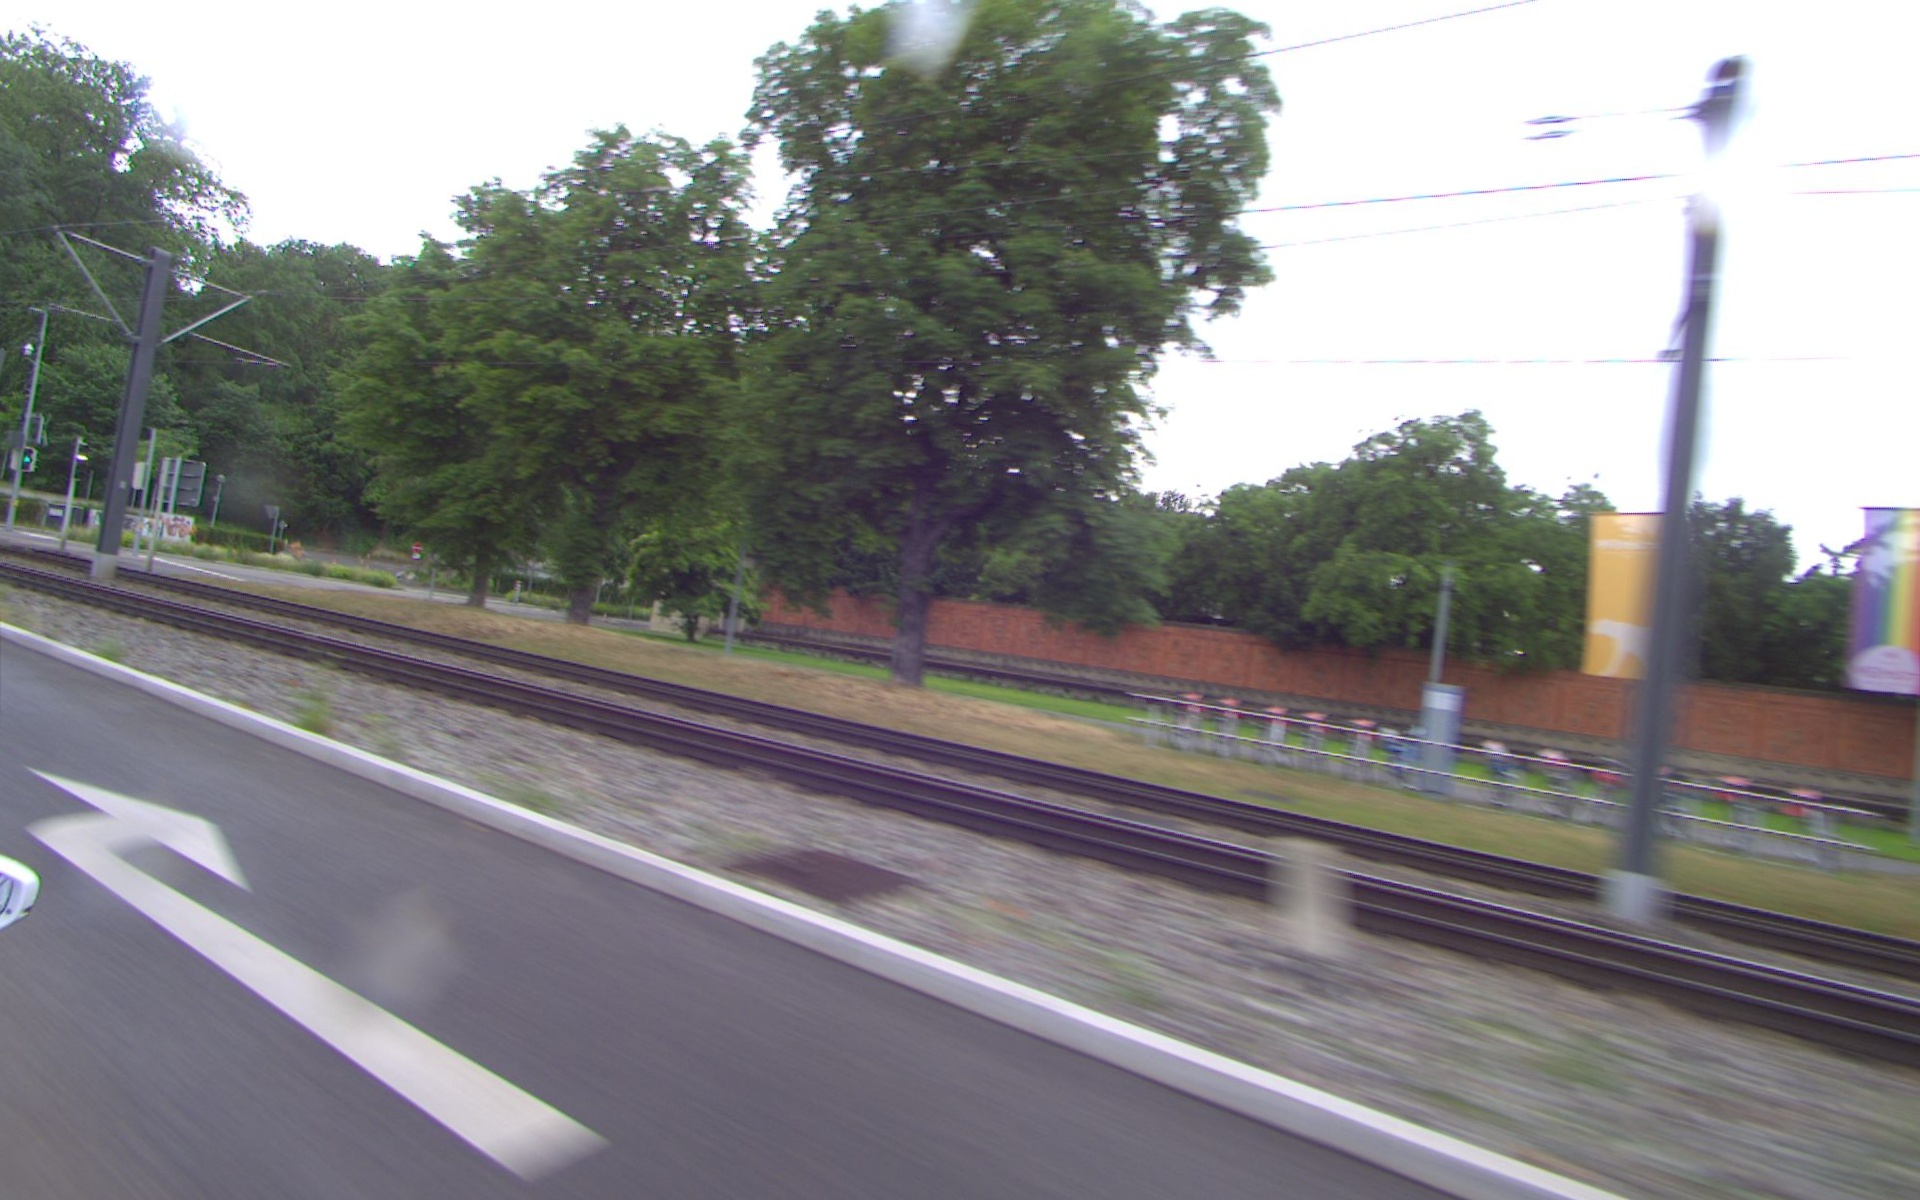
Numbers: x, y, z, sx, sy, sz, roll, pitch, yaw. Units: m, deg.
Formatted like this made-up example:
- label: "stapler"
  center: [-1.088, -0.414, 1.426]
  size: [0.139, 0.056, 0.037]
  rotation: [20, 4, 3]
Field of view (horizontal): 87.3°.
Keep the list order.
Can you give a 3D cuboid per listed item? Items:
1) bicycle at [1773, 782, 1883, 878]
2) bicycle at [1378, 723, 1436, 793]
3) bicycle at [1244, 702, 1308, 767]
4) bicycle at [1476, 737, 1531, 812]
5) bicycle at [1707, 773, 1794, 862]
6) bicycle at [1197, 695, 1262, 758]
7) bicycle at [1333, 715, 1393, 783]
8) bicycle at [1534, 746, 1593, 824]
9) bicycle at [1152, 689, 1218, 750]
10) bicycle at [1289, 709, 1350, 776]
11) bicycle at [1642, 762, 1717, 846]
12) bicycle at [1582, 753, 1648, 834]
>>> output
- label: "bicycle"
  center: [12.506, 3.275, 14.563]
  size: [0.677, 1.043, 2.229]
  rotation: [7, -2, 30]
- label: "bicycle"
  center: [7.782, 2.713, 17.464]
  size: [0.642, 1.043, 1.815]
  rotation: [7, -2, 30]
- label: "bicycle"
  center: [5.869, 2.473, 18.618]
  size: [0.642, 1.043, 1.815]
  rotation: [7, -2, 30]
- label: "bicycle"
  center: [8.946, 2.832, 16.547]
  size: [0.642, 1.046, 1.815]
  rotation: [7, -2, 30]
- label: "bicycle"
  center: [11.649, 3.171, 14.875]
  size: [0.642, 1.043, 1.815]
  rotation: [7, -2, 30]
- label: "bicycle"
  center: [5.129, 2.388, 19.058]
  size: [0.642, 1.043, 1.815]
  rotation: [7, -2, 30]
- label: "bicycle"
  center: [7.112, 2.595, 17.689]
  size: [0.642, 1.043, 1.839]
  rotation: [7, -2, 30]
- label: "bicycle"
  center: [9.661, 2.930, 16.158]
  size: [0.642, 1.043, 1.815]
  rotation: [7, -2, 30]
- label: "bicycle"
  center: [4.371, 2.309, 19.474]
  size: [0.642, 1.043, 1.815]
  rotation: [7, -2, 30]
- label: "bicycle"
  center: [6.530, 2.561, 18.225]
  size: [0.642, 1.043, 1.815]
  rotation: [7, -2, 30]
- label: "bicycle"
  center: [11.039, 3.102, 15.486]
  size: [0.642, 1.043, 1.815]
  rotation: [7, -2, 30]
- label: "bicycle"
  center: [10.288, 3.008, 15.845]
  size: [0.642, 1.043, 1.852]
  rotation: [7, -2, 30]
